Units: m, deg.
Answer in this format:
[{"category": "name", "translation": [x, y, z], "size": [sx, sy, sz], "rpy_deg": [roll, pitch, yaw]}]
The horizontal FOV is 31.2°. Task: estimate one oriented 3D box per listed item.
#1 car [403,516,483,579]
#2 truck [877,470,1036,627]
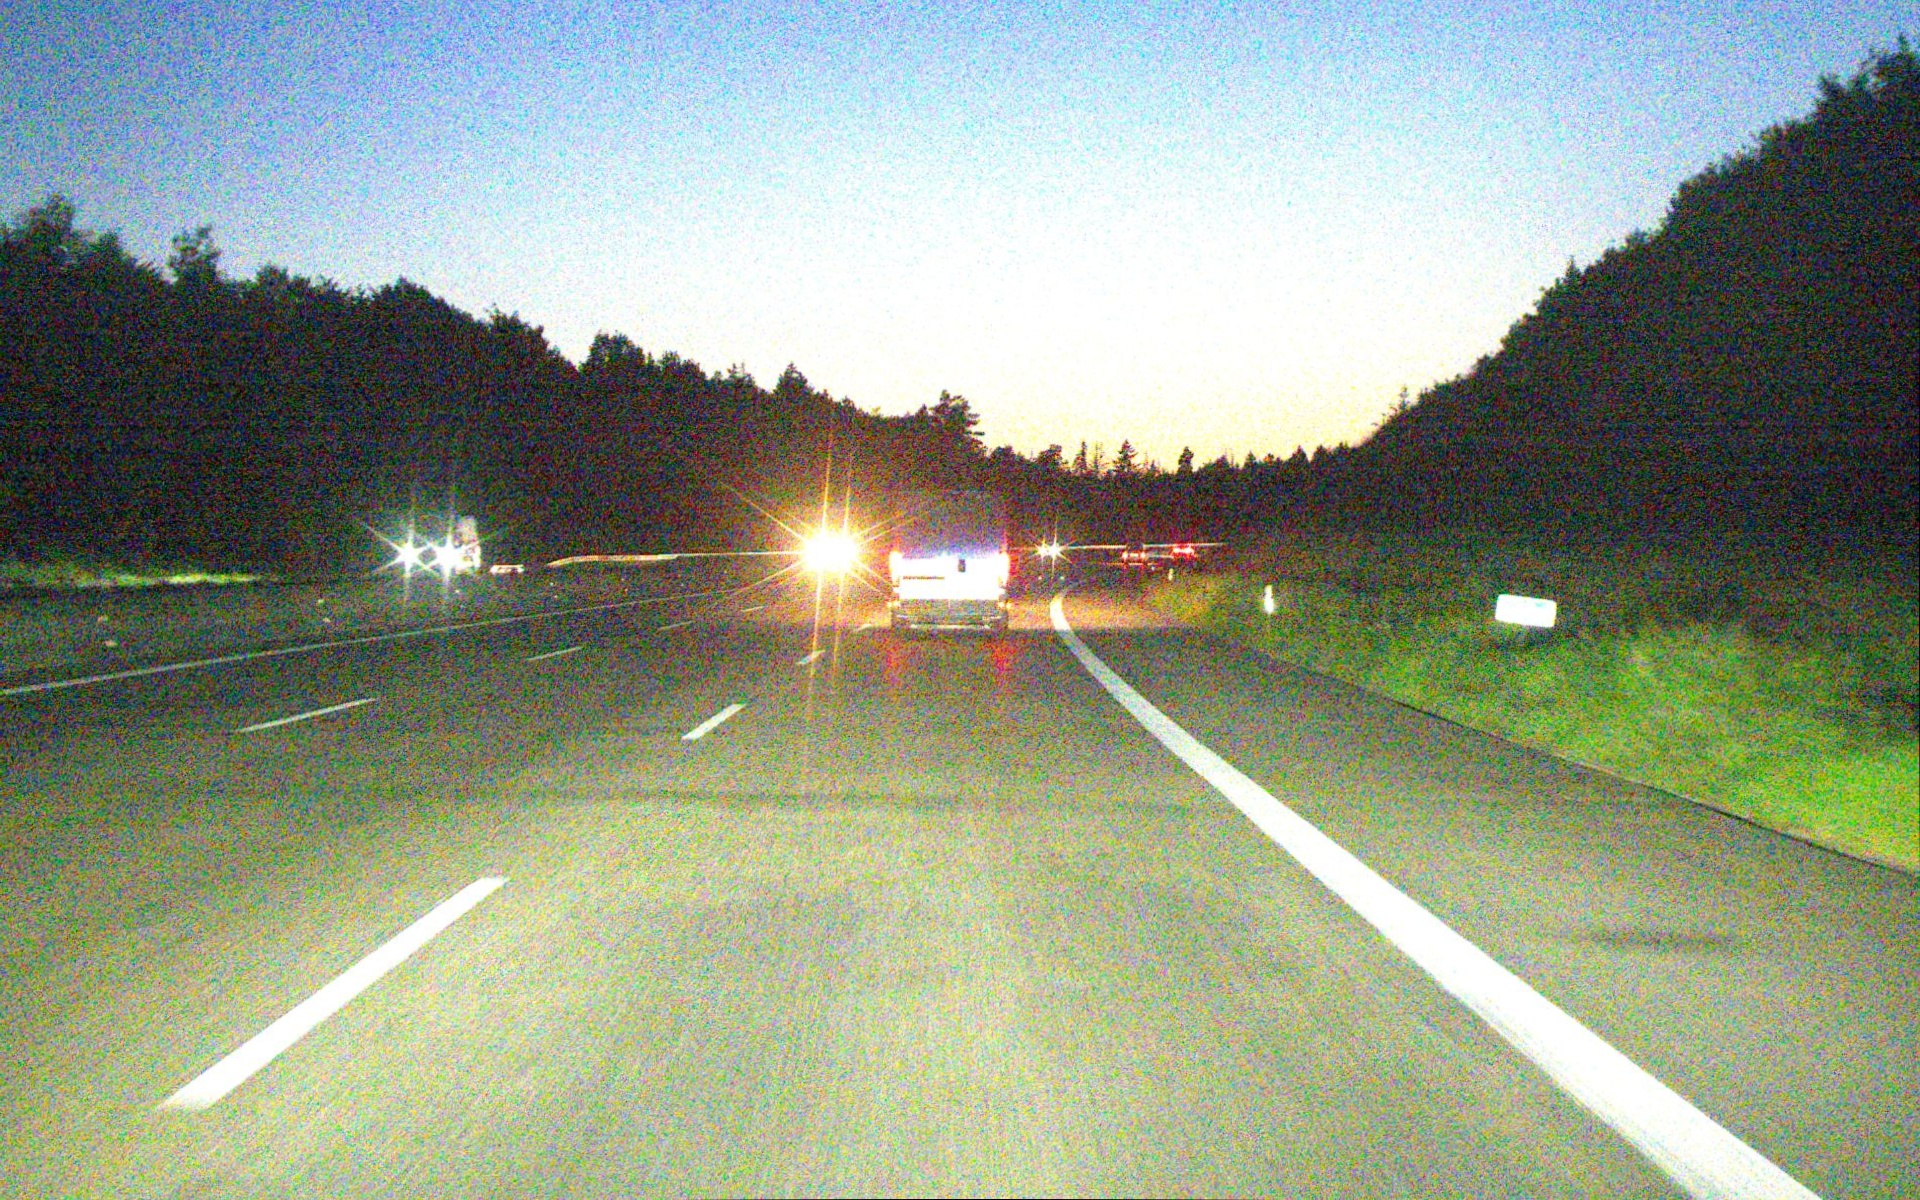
[{"category": "car", "translation": [-20.820, -2.097, 138.646], "size": [2.082, 2.479, 6.242], "rpy_deg": [0, 1, 2]}, {"category": "truck", "translation": [-0.160, -0.923, 61.836], "size": [2.630, 2.615, 8.685], "rpy_deg": [0, 1, -2]}]
